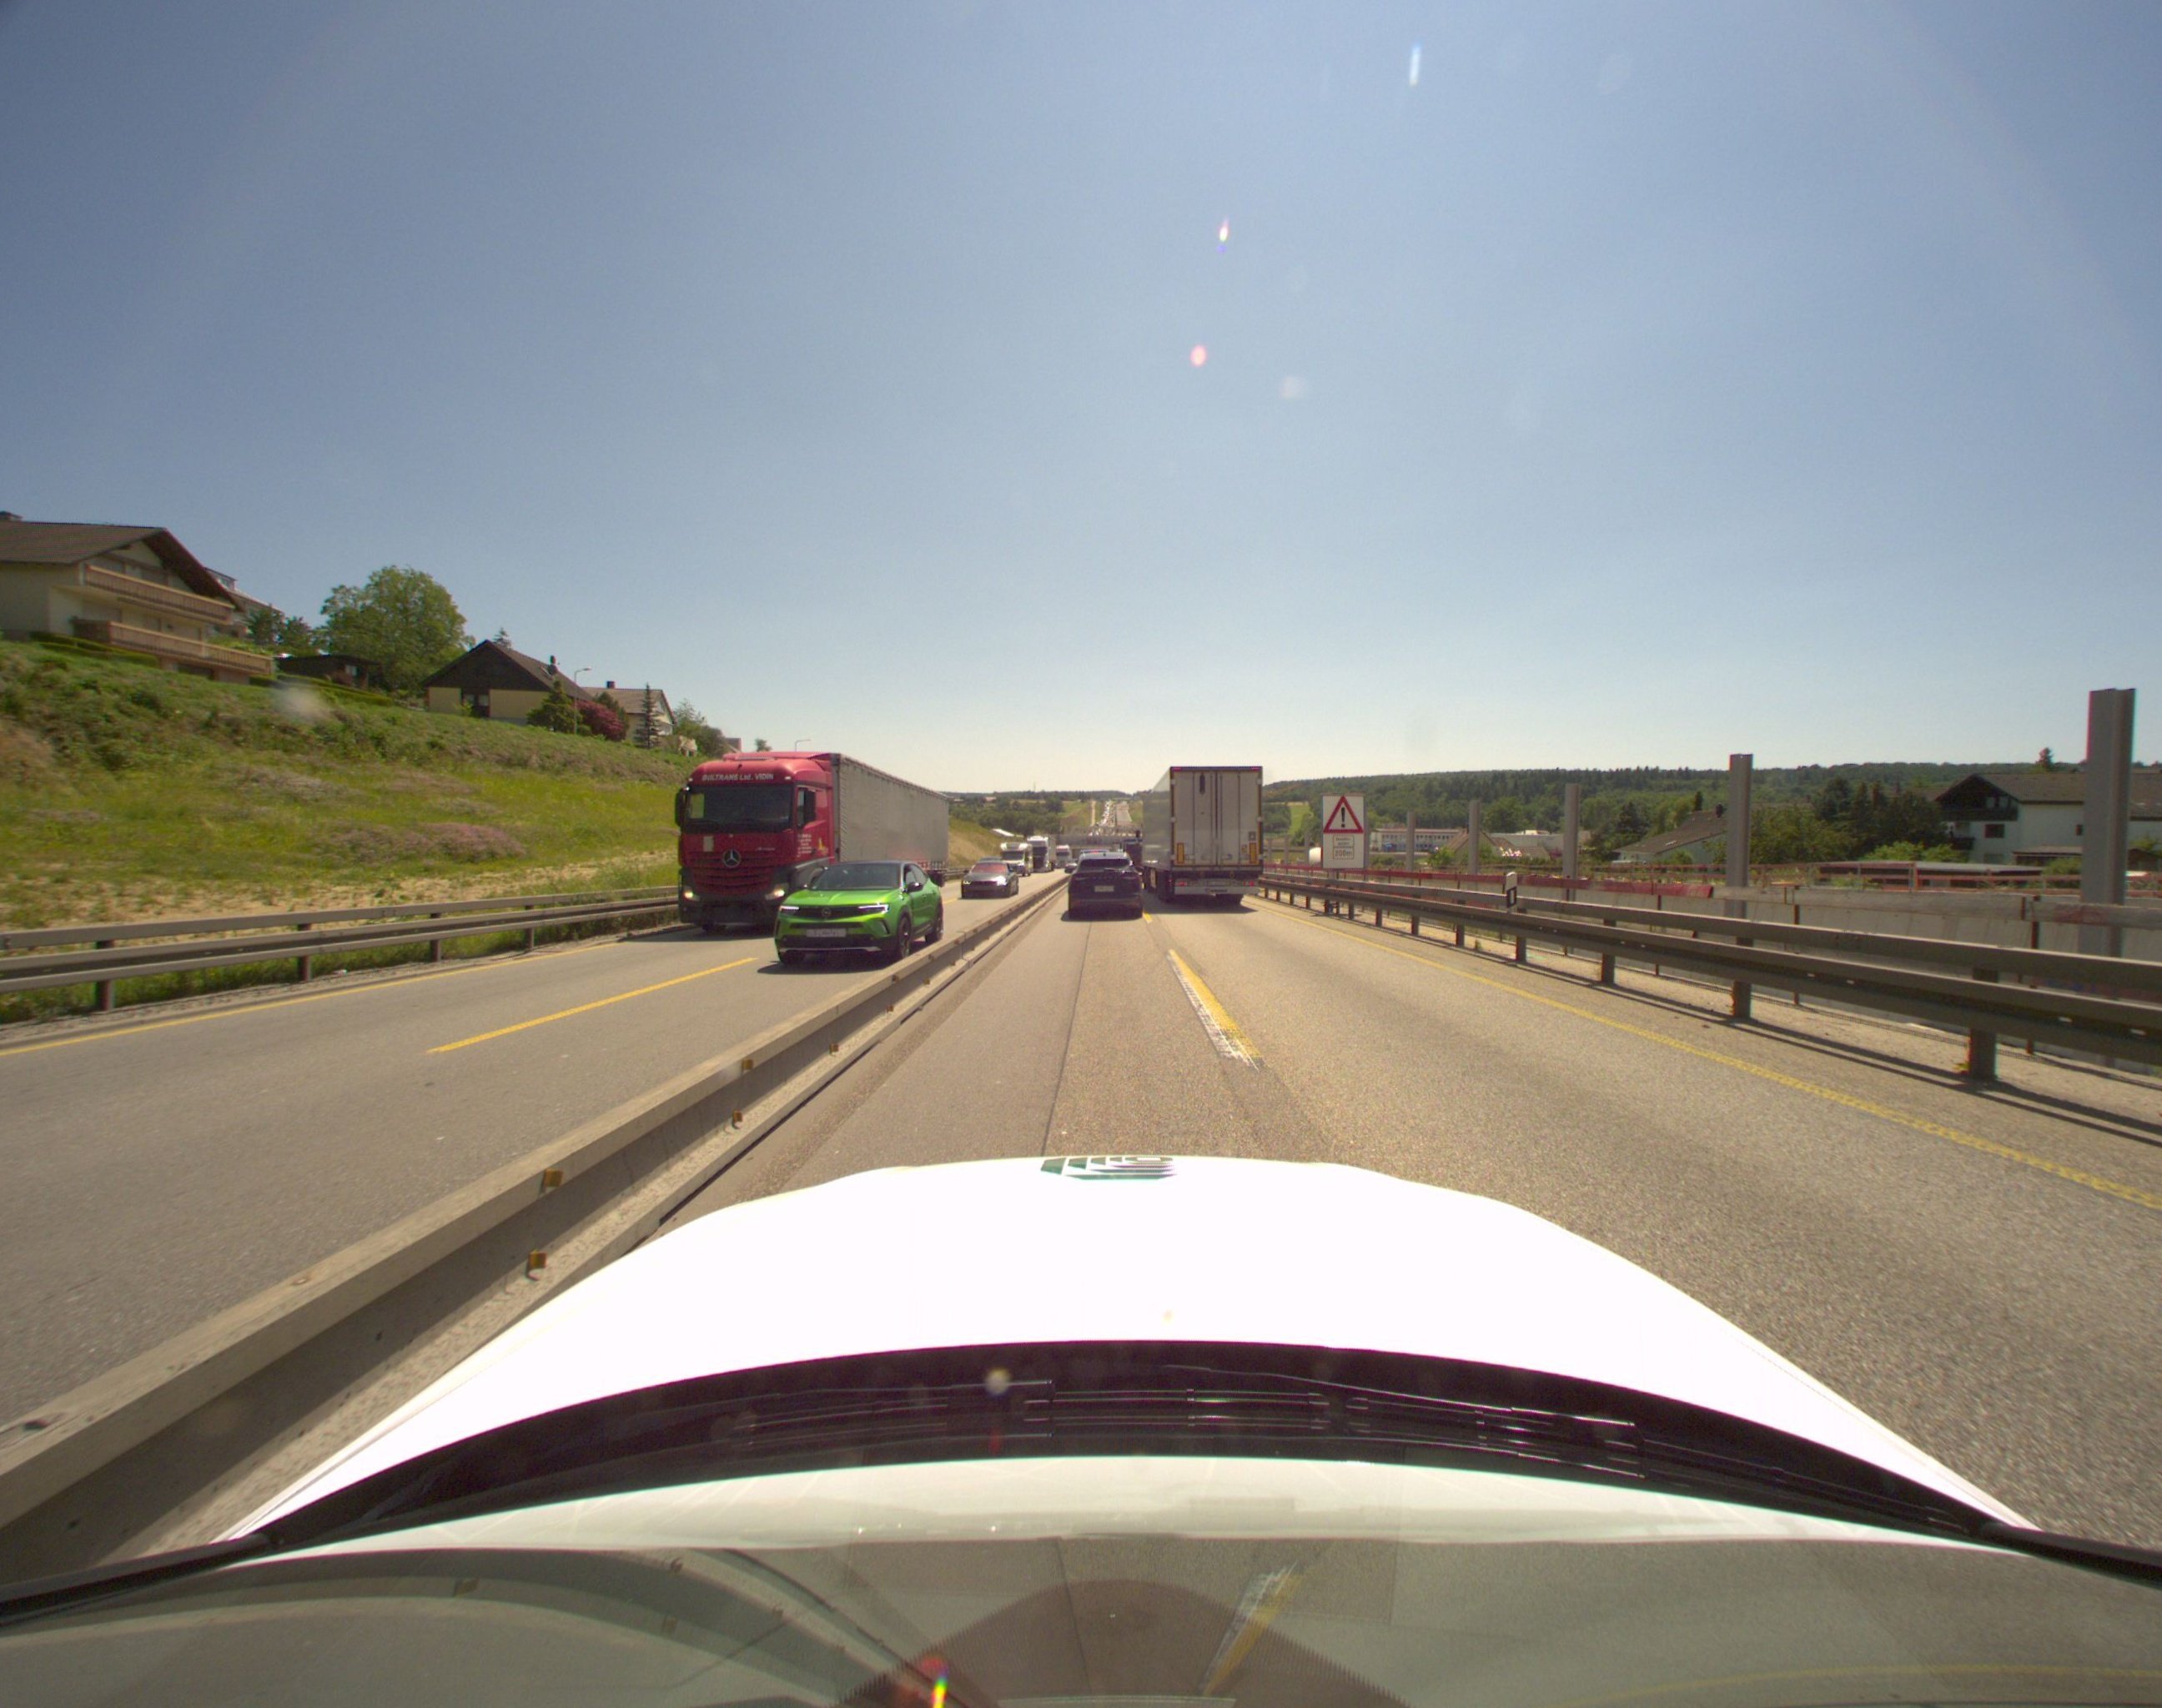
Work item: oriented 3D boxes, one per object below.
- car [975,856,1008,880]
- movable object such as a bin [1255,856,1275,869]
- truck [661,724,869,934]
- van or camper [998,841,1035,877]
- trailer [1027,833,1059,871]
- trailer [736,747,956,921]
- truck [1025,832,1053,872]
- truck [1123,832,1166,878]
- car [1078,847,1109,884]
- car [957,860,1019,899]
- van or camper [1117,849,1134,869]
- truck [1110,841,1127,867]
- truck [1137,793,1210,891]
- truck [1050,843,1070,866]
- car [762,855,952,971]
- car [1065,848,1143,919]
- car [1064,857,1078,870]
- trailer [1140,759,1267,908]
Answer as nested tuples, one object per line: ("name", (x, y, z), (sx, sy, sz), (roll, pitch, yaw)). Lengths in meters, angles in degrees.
("car", (-6.076, 0.926, 55.642), (1.710, 1.552, 4.265), (-1, 0, 1))
("movable object such as a bin", (43.090, 1.912, 190.704), (2.876, 2.909, 9.484), (0, -1, 2))
("truck", (-6.857, -0.496, 18.418), (2.811, 4.124, 4.599), (0, 0, 1))
("van or camper", (-5.314, 0.429, 67.829), (2.326, 2.777, 7.518), (-1, 0, 1))
("trailer", (-4.431, -0.172, 98.036), (2.800, 4.287, 14.037), (0, 0, 1))
("trailer", (-6.659, -0.468, 26.195), (2.846, 4.124, 13.440), (0, 0, 1))
("truck", (-4.612, -0.227, 90.383), (2.764, 4.287, 4.677), (0, 0, 1))
("truck", (4.700, 0.171, 62.761), (2.803, 3.135, 12.844), (-1, -1, 2))
("car", (0.687, 0.579, 41.848), (1.469, 1.795, 3.300), (0, 0, 3))
("car", (-3.478, 0.933, 31.282), (1.761, 1.363, 4.412), (-1, 0, 1))
("van or camper", (5.351, 0.593, 98.594), (1.986, 2.244, 4.002), (1, 0, 2))
("truck", (5.832, -0.042, 128.287), (2.509, 3.959, 7.601), (1, 0, 1))
("truck", (4.057, -0.463, 36.721), (2.766, 4.058, 4.905), (-1, -1, 1))
("truck", (-3.748, 0.098, 146.211), (3.228, 4.160, 4.248), (-1, -1, 1))
("car", (-3.308, 0.788, 12.858), (1.747, 1.508, 4.001), (1, 0, 2))
("car", (0.585, 0.687, 20.600), (1.794, 1.620, 3.299), (-1, 0, 2))
("car", (-1.213, 1.158, 99.467), (1.623, 1.479, 3.380), (0, 0, 1))
("trailer", (3.882, -0.451, 29.477), (2.791, 4.058, 14.119), (-1, -1, 1))
